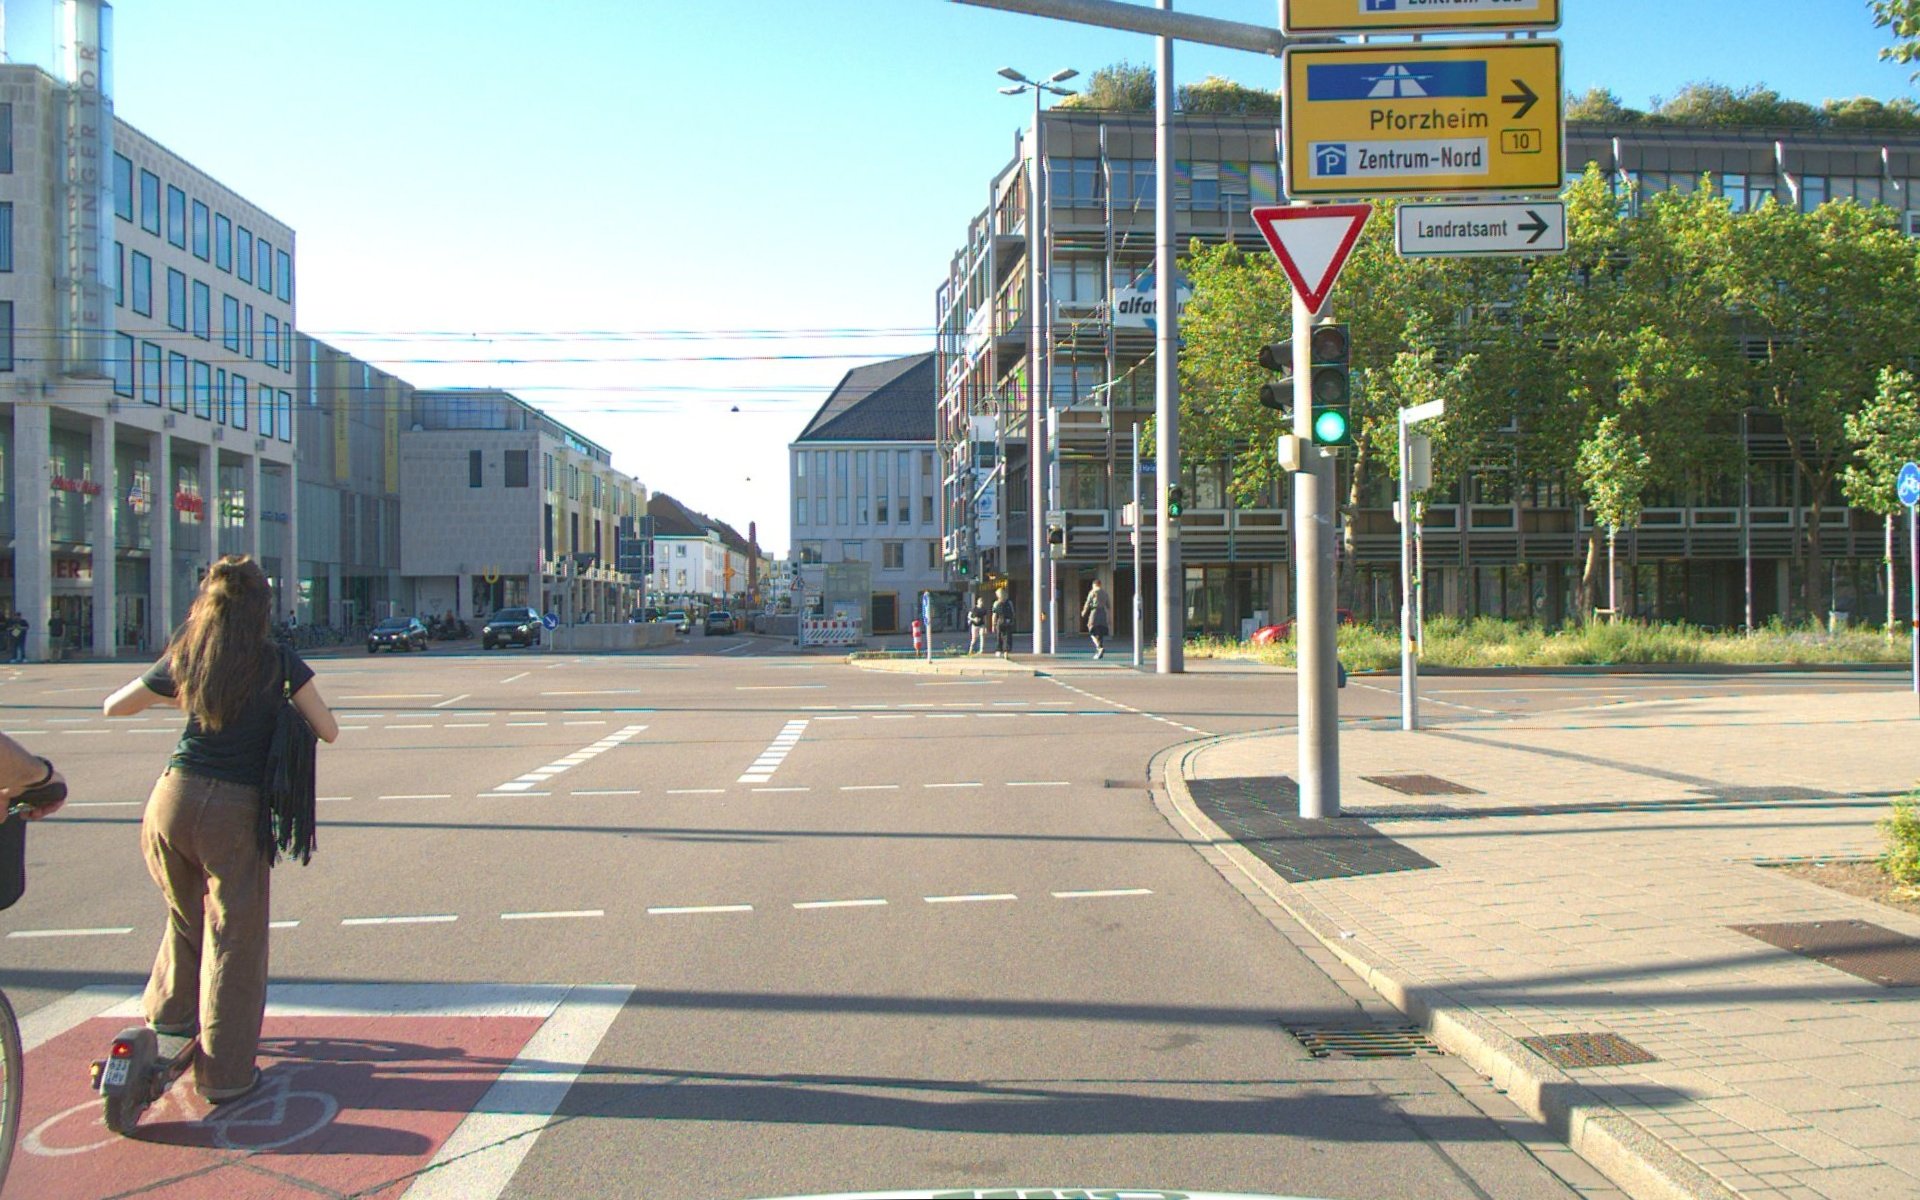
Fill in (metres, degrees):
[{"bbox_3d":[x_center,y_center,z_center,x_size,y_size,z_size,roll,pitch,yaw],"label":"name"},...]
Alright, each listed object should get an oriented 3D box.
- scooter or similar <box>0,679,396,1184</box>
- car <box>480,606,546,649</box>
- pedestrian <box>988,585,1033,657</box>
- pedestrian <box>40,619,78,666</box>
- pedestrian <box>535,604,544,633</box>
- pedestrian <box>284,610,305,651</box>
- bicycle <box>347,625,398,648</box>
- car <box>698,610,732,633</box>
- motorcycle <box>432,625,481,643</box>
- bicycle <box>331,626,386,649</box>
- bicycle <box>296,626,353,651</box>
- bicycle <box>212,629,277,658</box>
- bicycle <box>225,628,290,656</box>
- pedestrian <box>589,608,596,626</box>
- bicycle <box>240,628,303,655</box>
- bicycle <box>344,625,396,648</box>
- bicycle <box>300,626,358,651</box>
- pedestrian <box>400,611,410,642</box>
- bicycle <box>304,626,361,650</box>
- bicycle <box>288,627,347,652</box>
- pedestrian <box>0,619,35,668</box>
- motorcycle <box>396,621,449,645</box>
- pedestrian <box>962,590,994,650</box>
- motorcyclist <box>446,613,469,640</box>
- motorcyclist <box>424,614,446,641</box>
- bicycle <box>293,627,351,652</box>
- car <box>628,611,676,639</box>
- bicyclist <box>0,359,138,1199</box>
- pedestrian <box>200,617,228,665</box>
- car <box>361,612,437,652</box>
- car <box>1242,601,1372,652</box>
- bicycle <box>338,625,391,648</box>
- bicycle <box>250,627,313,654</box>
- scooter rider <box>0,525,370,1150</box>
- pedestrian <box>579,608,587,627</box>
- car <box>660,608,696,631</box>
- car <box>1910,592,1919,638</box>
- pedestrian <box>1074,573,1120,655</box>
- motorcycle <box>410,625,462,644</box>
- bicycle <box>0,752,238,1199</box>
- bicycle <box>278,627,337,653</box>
[{"bbox_3d":[-2.206,0.868,4.905,0.629,1.196,1.482,1,0,-4],"label":"scooter or similar"},{"bbox_3d":[-18.433,1.102,68.422,1.900,1.707,4.289,-1,0,-5],"label":"car"},{"bbox_3d":[1.127,0.454,37.012,0.879,1.576,0.922,-1,1,-7],"label":"pedestrian"},{"bbox_3d":[-31.233,1.470,57.339,0.826,1.598,0.940,-1,-1,40],"label":"pedestrian"},{"bbox_3d":[-29.483,1.301,115.913,0.606,2.049,0.476,1,-1,-15],"label":"pedestrian"},{"bbox_3d":[-33.366,1.531,82.959,0.933,2.017,1.000,0,-1,-25],"label":"pedestrian"},{"bbox_3d":[-30.374,1.896,85.534,2.417,1.130,0.631,-1,0,0],"label":"bicycle"},{"bbox_3d":[-15.983,1.401,107.968,1.898,1.475,4.258,0,-1,-4],"label":"car"},{"bbox_3d":[-29.590,1.982,97.278,2.617,1.013,0.915,1,-1,-8],"label":"motorcycle"},{"bbox_3d":[-30.289,1.875,83.309,2.417,1.130,0.835,-1,0,0],"label":"bicycle"},{"bbox_3d":[-30.217,1.834,78.682,2.417,1.130,0.684,-1,0,0],"label":"bicycle"},{"bbox_3d":[-29.422,1.776,68.046,2.354,1.132,0.658,-1,0,-1],"label":"bicycle"},{"bbox_3d":[-29.467,1.767,69.391,2.417,1.130,0.684,-1,0,-1],"label":"bicycle"},{"bbox_3d":[-28.852,1.343,129.909,0.479,1.380,0.563,1,-1,-7],"label":"pedestrian"},{"bbox_3d":[-29.446,1.771,70.757,2.416,1.130,0.684,-1,0,1],"label":"bicycle"},{"bbox_3d":[-30.286,1.883,84.862,2.417,1.130,0.660,-1,0,0],"label":"bicycle"},{"bbox_3d":[-29.667,1.828,77.753,2.417,1.130,0.835,-1,0,0],"label":"bicycle"},{"bbox_3d":[-37.786,1.811,112.653,0.606,2.049,0.476,1,-1,-15],"label":"pedestrian"},{"bbox_3d":[-30.329,1.842,79.932,2.417,1.130,0.835,-1,0,0],"label":"bicycle"},{"bbox_3d":[-29.584,1.826,76.139,2.417,1.130,0.684,-1,0,0],"label":"bicycle"},{"bbox_3d":[-33.093,1.502,57.911,0.932,1.680,1.001,-1,-1,43],"label":"pedestrian"},{"bbox_3d":[-29.725,1.819,91.464,2.617,1.239,0.915,1,-1,-8],"label":"motorcycle"},{"bbox_3d":[0.592,0.639,53.920,0.991,1.944,1.050,0,0,-2],"label":"pedestrian"},{"bbox_3d":[-29.560,1.548,97.299,1.115,1.602,0.915,1,-1,-8],"label":"motorcyclist"},{"bbox_3d":[-29.790,1.544,93.810,1.017,1.497,0.915,1,-1,-8],"label":"motorcyclist"},{"bbox_3d":[-29.659,1.823,76.913,2.417,1.130,0.684,-1,0,0],"label":"bicycle"},{"bbox_3d":[-19.851,1.616,106.778,2.130,1.722,5.485,0,-1,-1],"label":"car"},{"bbox_3d":[-1.977,0.442,2.902,0.685,1.698,0.786,-1,0,-3],"label":"bicyclist"},{"bbox_3d":[-27.738,1.527,61.483,0.736,1.770,0.756,0,-1,-3],"label":"pedestrian"},{"bbox_3d":[-23.565,1.317,69.607,1.899,1.608,4.292,-1,0,-3],"label":"car"},{"bbox_3d":[11.318,0.875,54.134,3.791,1.512,1.844,-1,-3,-5],"label":"car"},{"bbox_3d":[-30.272,1.871,84.085,2.417,1.130,0.660,-1,0,0],"label":"bicycle"},{"bbox_3d":[-29.366,1.763,71.567,2.417,1.130,0.684,-1,0,0],"label":"bicycle"},{"bbox_3d":[-2.186,0.601,4.740,0.629,1.571,1.116,1,0,-4],"label":"scooter rider"},{"bbox_3d":[-28.259,1.306,124.051,0.479,1.380,0.563,1,-1,-7],"label":"pedestrian"},{"bbox_3d":[-21.774,1.513,127.949,2.131,1.722,5.610,0,-1,-4],"label":"car"},{"bbox_3d":[38.434,0.560,61.956,4.764,1.709,1.996,0,1,-10],"label":"car"},{"bbox_3d":[3.004,0.291,36.247,0.839,1.774,0.738,-1,0,-9],"label":"pedestrian"},{"bbox_3d":[-29.717,1.951,93.828,2.617,1.013,0.915,1,-1,-8],"label":"motorcycle"},{"bbox_3d":[-1.967,0.907,2.873,0.692,1.113,1.799,-1,0,-2],"label":"bicycle"},{"bbox_3d":[-29.556,1.815,74.913,2.417,1.130,0.593,-1,0,0],"label":"bicycle"}]
